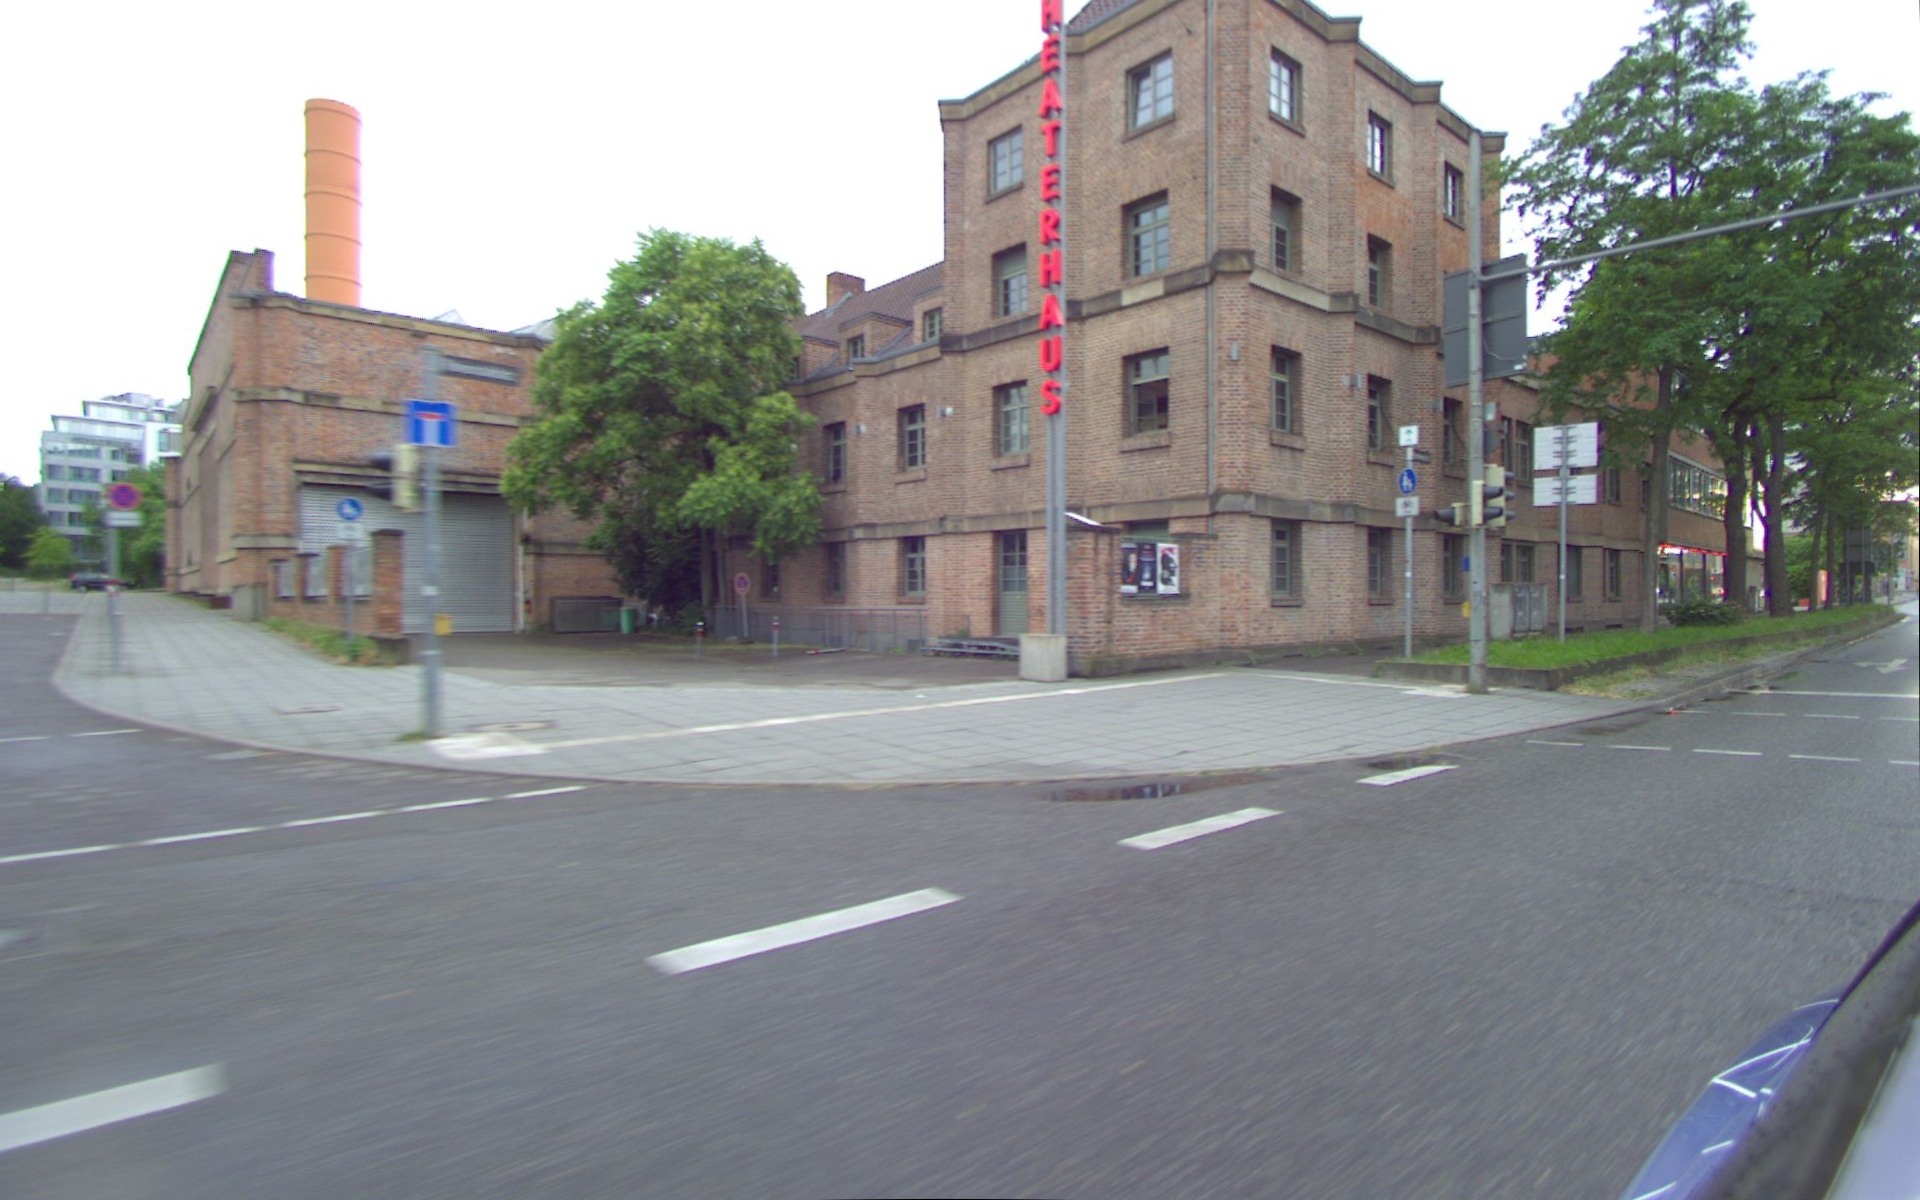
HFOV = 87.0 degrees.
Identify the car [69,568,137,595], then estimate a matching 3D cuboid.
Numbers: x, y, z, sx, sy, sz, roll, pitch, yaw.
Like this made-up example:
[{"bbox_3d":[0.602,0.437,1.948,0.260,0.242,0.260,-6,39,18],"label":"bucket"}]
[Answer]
[{"bbox_3d":[-67.242,-1.464,79.475,3.928,2.039,1.998,-2,1,-39],"label":"car"}]
